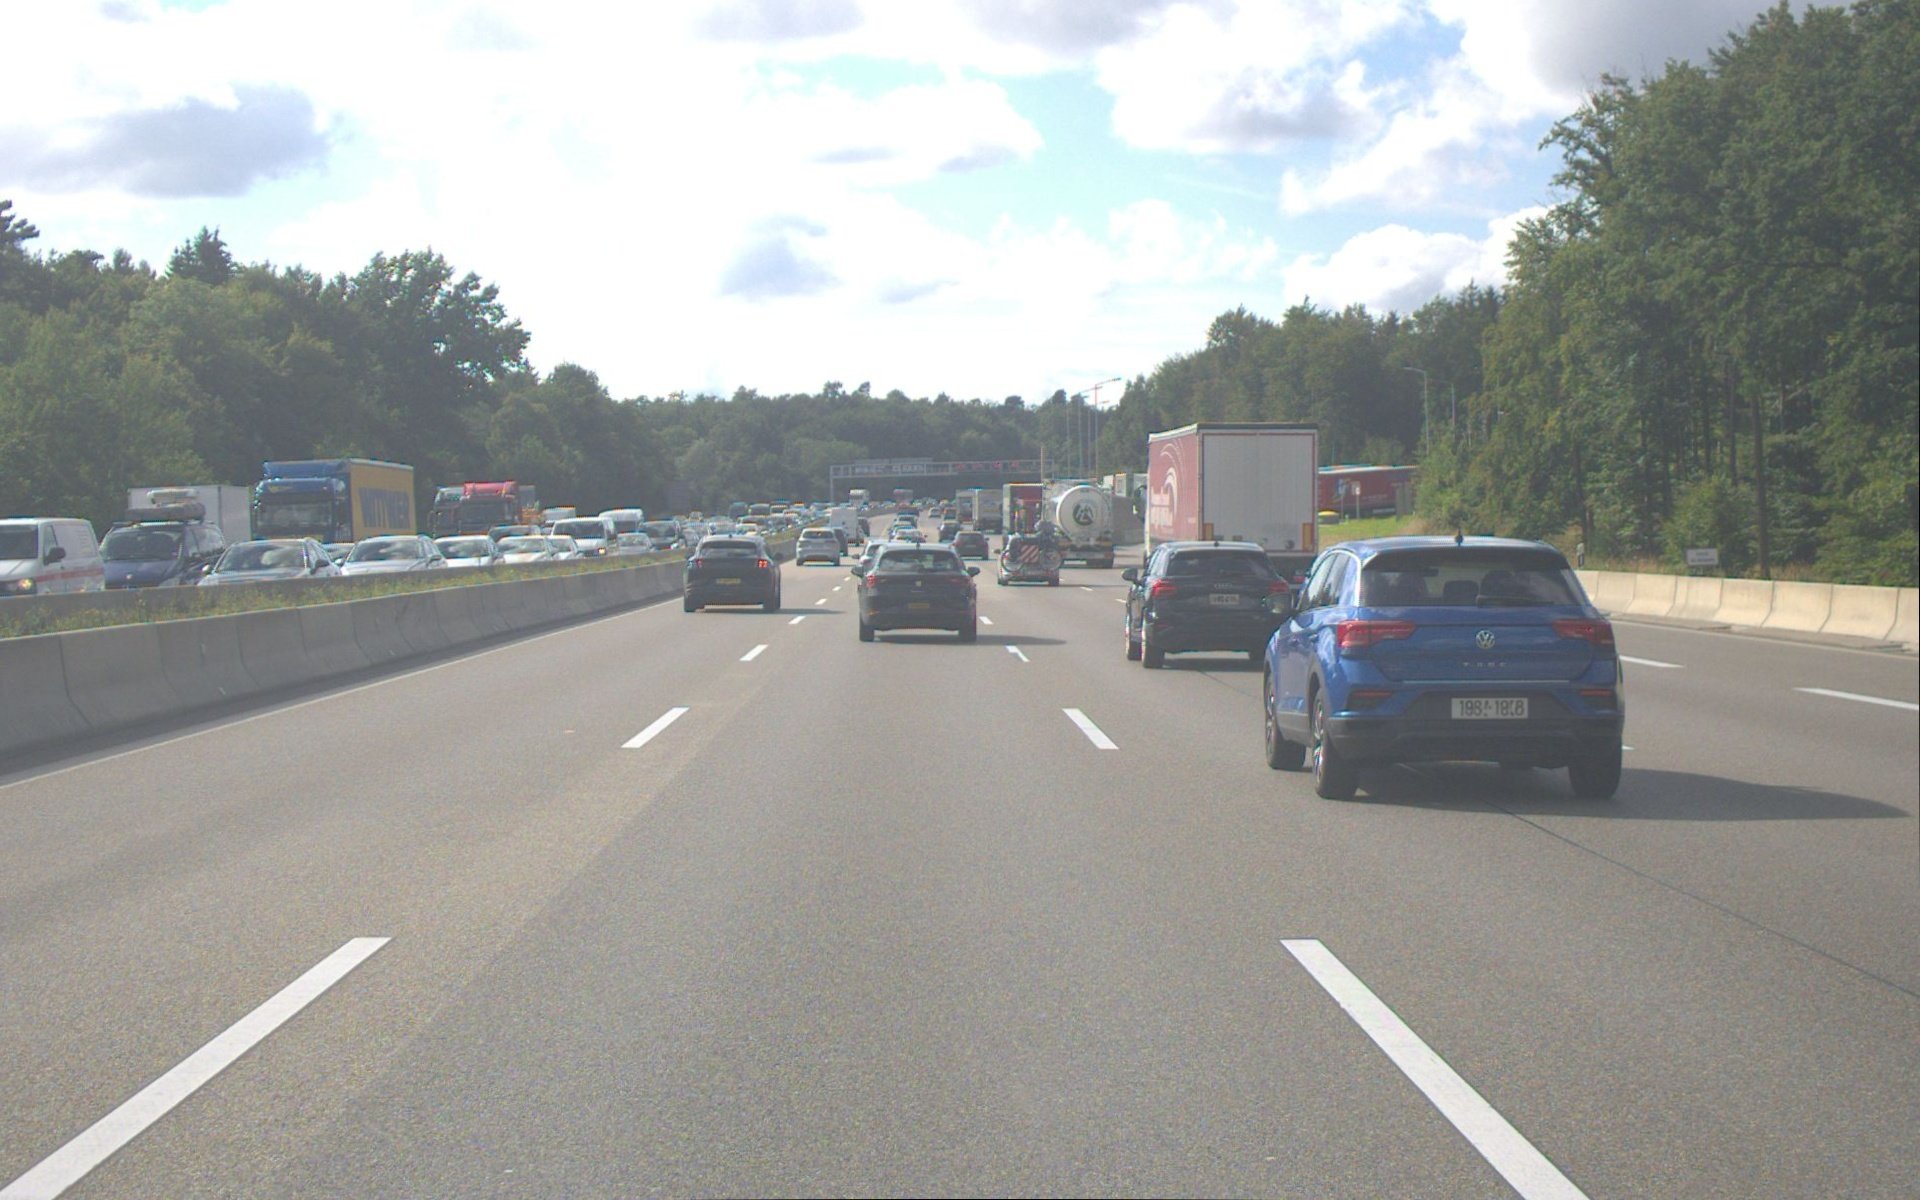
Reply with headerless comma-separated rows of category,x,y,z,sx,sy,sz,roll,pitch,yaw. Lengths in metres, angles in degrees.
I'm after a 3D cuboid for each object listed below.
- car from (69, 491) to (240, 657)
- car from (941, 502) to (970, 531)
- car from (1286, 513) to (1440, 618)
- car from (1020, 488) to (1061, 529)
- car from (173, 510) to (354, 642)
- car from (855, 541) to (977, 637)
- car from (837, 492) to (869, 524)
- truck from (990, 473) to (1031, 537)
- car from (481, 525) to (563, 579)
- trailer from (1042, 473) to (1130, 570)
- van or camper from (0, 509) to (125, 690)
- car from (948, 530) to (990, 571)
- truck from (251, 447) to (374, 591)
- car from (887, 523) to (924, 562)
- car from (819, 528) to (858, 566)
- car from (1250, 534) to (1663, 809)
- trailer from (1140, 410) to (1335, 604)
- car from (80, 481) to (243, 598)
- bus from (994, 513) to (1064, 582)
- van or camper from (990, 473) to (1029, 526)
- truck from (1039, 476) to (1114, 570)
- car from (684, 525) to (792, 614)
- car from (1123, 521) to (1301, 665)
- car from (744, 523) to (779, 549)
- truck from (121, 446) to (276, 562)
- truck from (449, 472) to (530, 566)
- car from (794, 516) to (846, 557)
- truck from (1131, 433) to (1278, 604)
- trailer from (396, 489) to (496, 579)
car,-15.139,-0.531,64.917,1.993,2.953,5.403,2,1,-1
car,-0.325,-6.073,249.658,1.993,2.007,4.000,1,1,-1
car,6.049,-0.527,52.053,1.715,1.506,4.302,-1,1,-1
car,4.252,-4.846,182.371,1.993,2.007,4.000,1,0,-1
car,-11.009,-0.369,54.604,1.993,2.007,4.409,0,0,0
car,-0.699,-0.180,51.592,1.734,1.360,4.000,1,1,-2
car,-6.959,-5.967,223.070,1.993,2.007,4.000,1,1,-1
truck,3.042,-5.735,209.214,2.358,3.560,11.266,1,0,0
car,-11.501,-1.270,90.446,1.757,1.372,4.000,1,1,-2
trailer,5.355,-3.299,147.840,3.036,4.002,12.246,0,1,-1
van or camper,-14.906,-0.018,54.323,2.045,2.702,5.751,1,0,0
car,0.436,-2.459,171.681,1.993,2.007,4.000,1,1,-1
truck,-19.275,-2.350,102.628,2.735,4.134,5.617,1,0,-2
car,-2.967,-3.125,187.281,1.993,2.007,4.000,-1,0,-1
car,-6.549,-2.881,185.584,1.993,2.007,4.000,1,1,-1
car,2.970,0.353,21.546,1.924,1.536,4.645,0,1,0
trailer,6.158,-1.945,78.673,3.038,4.021,13.891,1,0,-1
car,-14.416,-1.058,62.321,1.993,2.007,4.657,1,0,-2
bus,2.070,-1.586,104.702,1.993,2.007,4.000,1,0,0
van or camper,3.098,-6.315,216.004,2.351,3.133,5.710,1,0,0
truck,5.235,-3.444,155.341,3.045,4.146,7.127,0,1,-1
car,-4.595,-0.653,71.549,1.993,1.770,4.000,1,1,0
car,3.006,-0.105,41.711,1.799,1.639,4.000,1,1,-1
car,-12.878,-4.168,223.613,1.993,1.567,4.816,0,2,0
truck,-19.512,-2.448,88.500,2.328,2.792,7.950,2,1,-1
truck,-20.242,-3.499,148.171,2.775,3.924,6.854,1,1,-2
car,-6.190,-2.809,152.106,2.154,1.770,4.000,1,1,0
truck,6.003,-1.955,85.424,3.080,4.049,6.070,1,0,-1
trailer,-24.581,-3.236,165.091,2.809,4.105,14.043,1,2,-1
